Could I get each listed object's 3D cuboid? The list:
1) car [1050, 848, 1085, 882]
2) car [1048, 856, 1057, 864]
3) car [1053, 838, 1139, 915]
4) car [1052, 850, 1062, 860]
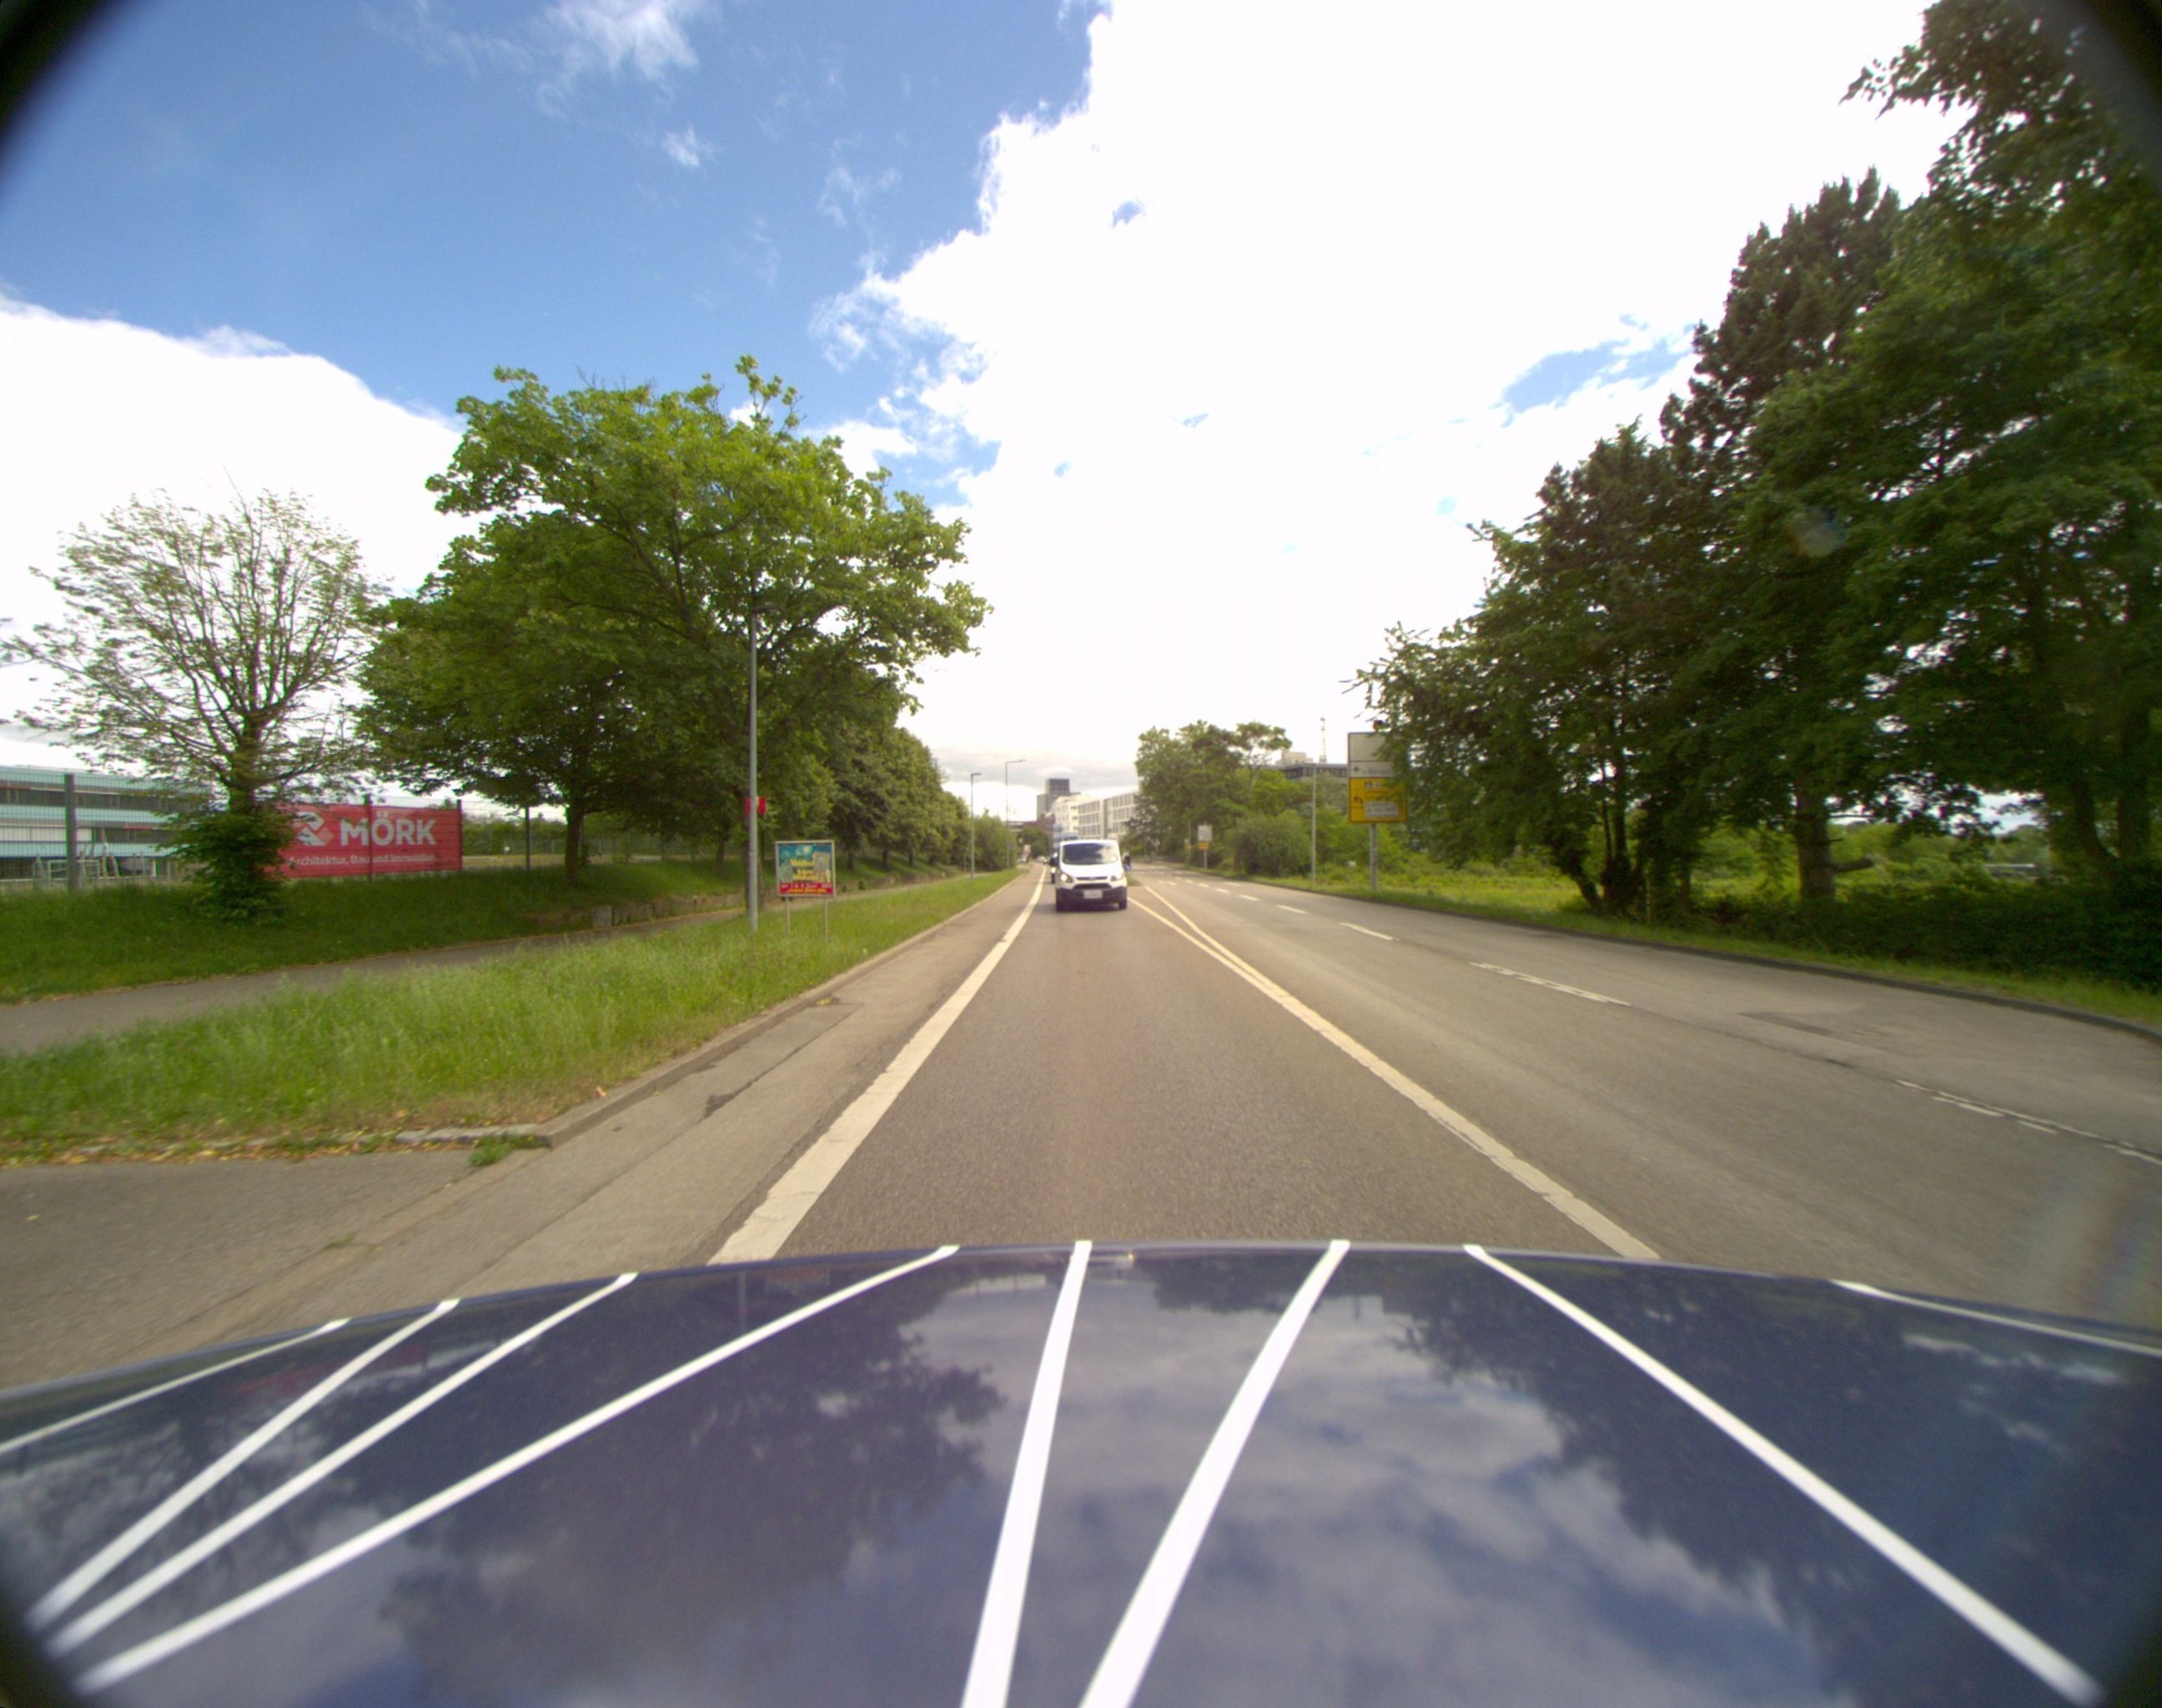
[{"bbox_3d":[-0.832,0.604,45.291,1.872,1.836,4.370,-2,0,-2],"label":"car"},{"bbox_3d":[-5.886,1.196,156.636,1.873,1.685,4.370,0,0,-4],"label":"car"},{"bbox_3d":[0.278,0.578,23.112,2.122,1.963,6.204,-2,0,-3],"label":"car"},{"bbox_3d":[-4.574,0.193,143.341,1.872,1.685,4.370,-2,0,-2],"label":"car"}]
